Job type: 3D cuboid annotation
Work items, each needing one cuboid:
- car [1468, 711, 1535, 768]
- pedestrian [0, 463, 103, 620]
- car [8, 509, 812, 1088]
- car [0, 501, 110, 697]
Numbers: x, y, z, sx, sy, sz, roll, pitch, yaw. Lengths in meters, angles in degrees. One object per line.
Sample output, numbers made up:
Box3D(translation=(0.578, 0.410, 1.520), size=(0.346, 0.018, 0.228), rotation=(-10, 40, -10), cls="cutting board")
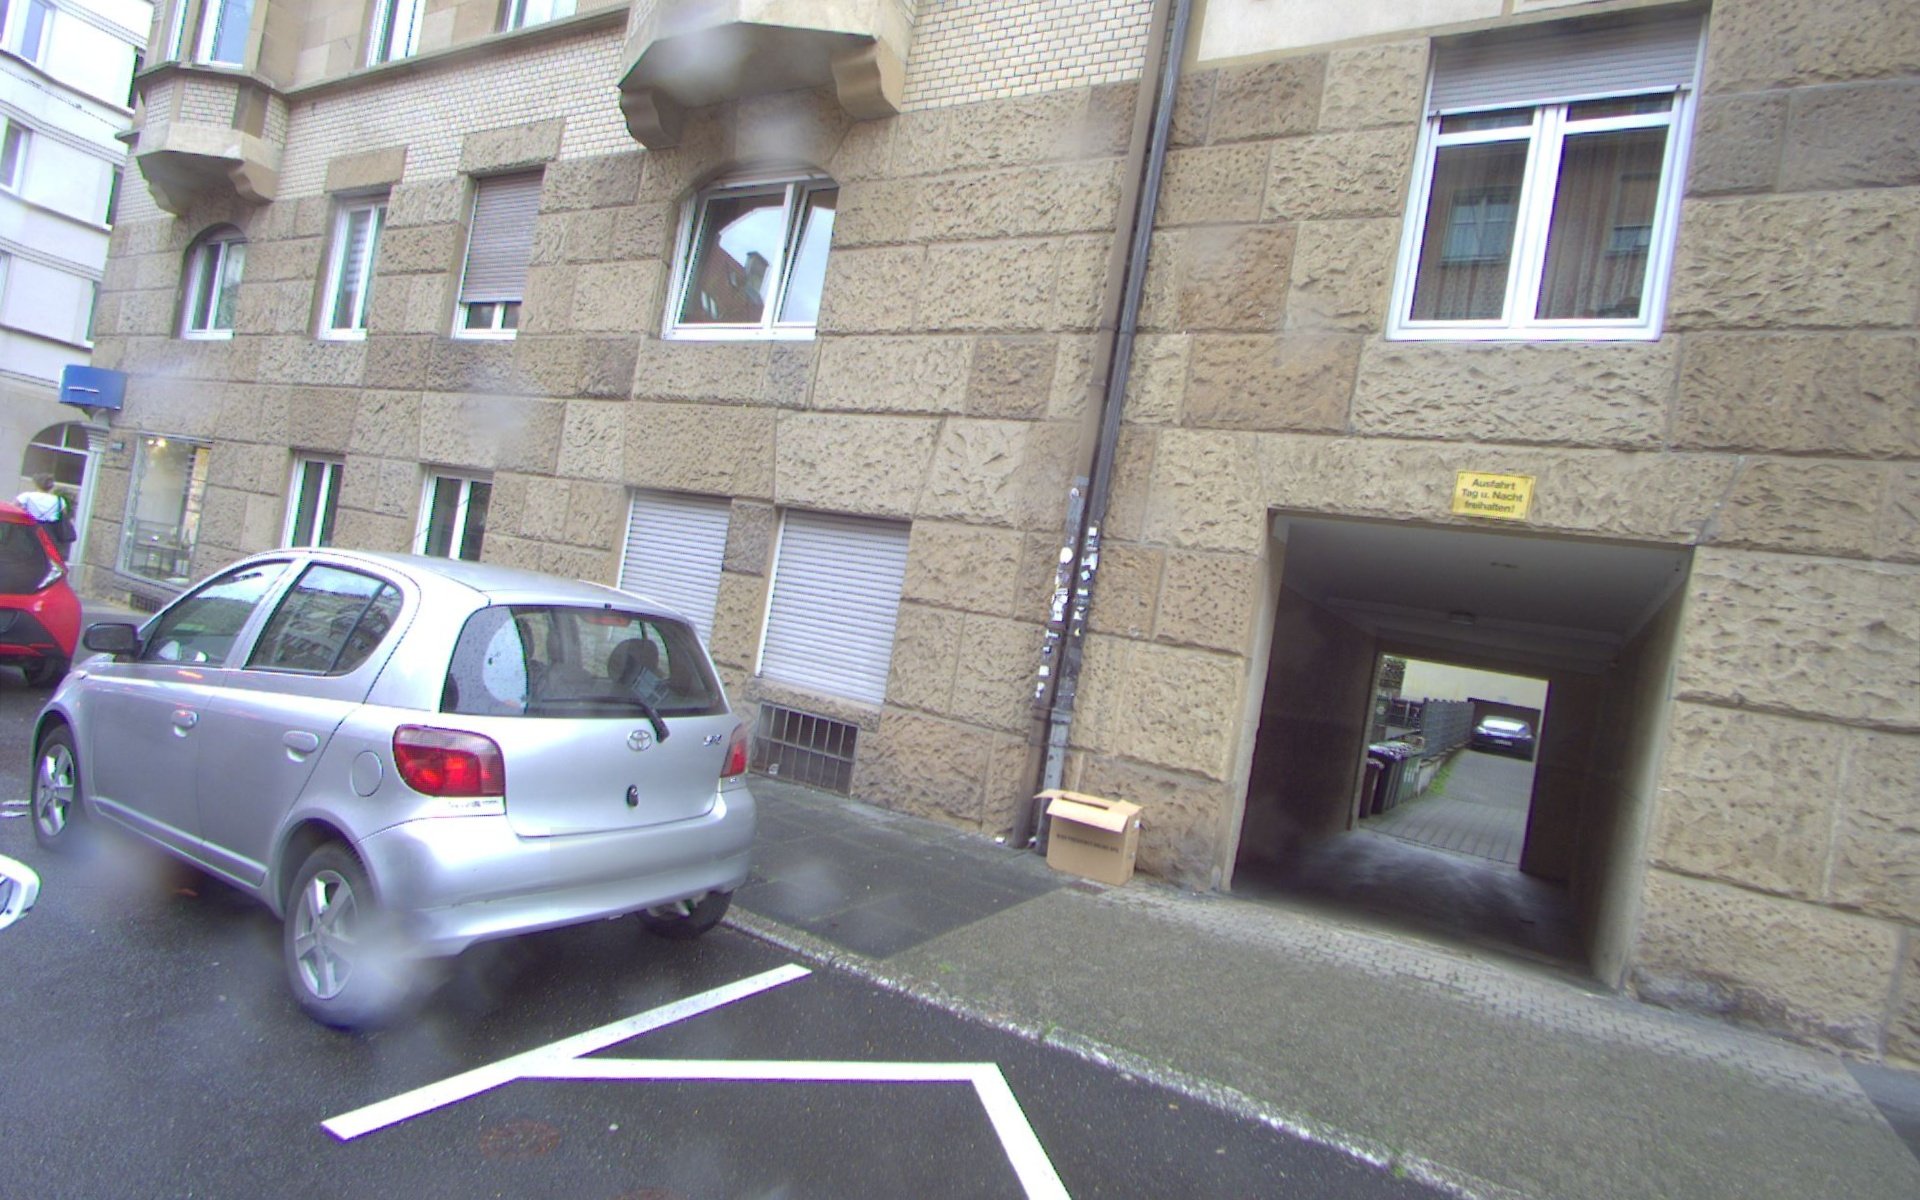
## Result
Box3D(translation=(18.333, 4.694, 33.949), size=(1.693, 1.538, 4.102), rotation=(7, -3, 31), cls="car")
Box3D(translation=(-11.312, -0.724, 12.343), size=(1.093, 1.768, 0.743), rotation=(6, -1, 32), cls="pedestrian")
Box3D(translation=(-2.489, 0.549, 4.404), size=(3.258, 1.485, 1.616), rotation=(7, 0, 33), cls="car")
Box3D(translation=(-8.739, -0.198, 8.181), size=(3.243, 1.464, 1.646), rotation=(7, -2, 29), cls="car")
